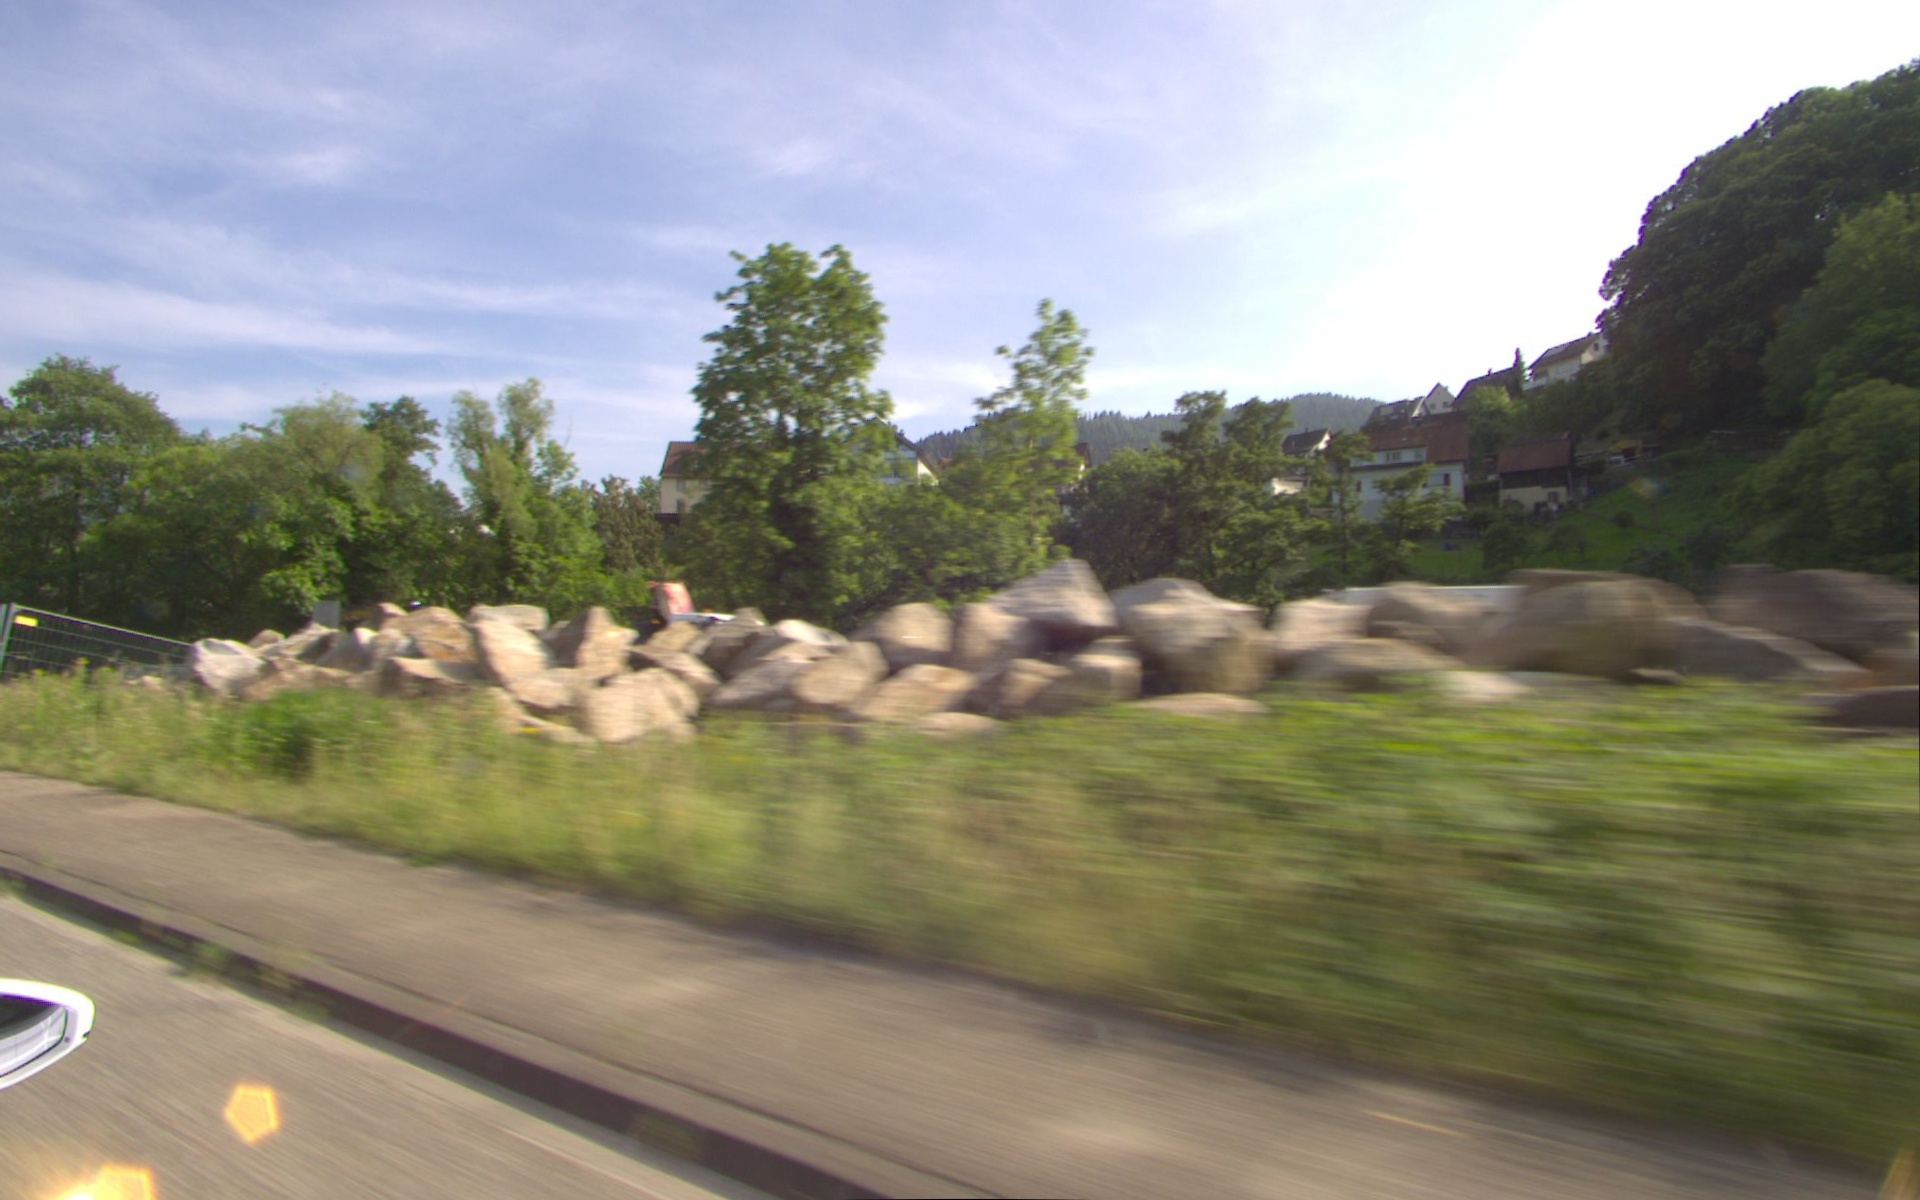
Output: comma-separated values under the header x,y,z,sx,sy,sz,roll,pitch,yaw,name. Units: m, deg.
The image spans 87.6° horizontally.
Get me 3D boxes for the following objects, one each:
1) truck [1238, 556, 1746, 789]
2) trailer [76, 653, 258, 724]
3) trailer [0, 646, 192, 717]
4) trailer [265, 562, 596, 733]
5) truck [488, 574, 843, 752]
x,y,z,sx,sy,sz,roll,pitch,yaw,name
10.331,1.384,20.265,8.529,3.827,3.097,-1,-4,35,truck
-22.448,2.464,28.350,4.713,1.844,2.057,-1,-4,24,trailer
-29.482,2.579,32.716,11.322,2.038,2.390,-2,-4,28,trailer
-15.471,1.424,29.070,9.752,4.325,3.367,-1,-4,27,trailer
-7.386,1.497,24.871,8.506,3.827,3.105,-1,-4,26,truck
